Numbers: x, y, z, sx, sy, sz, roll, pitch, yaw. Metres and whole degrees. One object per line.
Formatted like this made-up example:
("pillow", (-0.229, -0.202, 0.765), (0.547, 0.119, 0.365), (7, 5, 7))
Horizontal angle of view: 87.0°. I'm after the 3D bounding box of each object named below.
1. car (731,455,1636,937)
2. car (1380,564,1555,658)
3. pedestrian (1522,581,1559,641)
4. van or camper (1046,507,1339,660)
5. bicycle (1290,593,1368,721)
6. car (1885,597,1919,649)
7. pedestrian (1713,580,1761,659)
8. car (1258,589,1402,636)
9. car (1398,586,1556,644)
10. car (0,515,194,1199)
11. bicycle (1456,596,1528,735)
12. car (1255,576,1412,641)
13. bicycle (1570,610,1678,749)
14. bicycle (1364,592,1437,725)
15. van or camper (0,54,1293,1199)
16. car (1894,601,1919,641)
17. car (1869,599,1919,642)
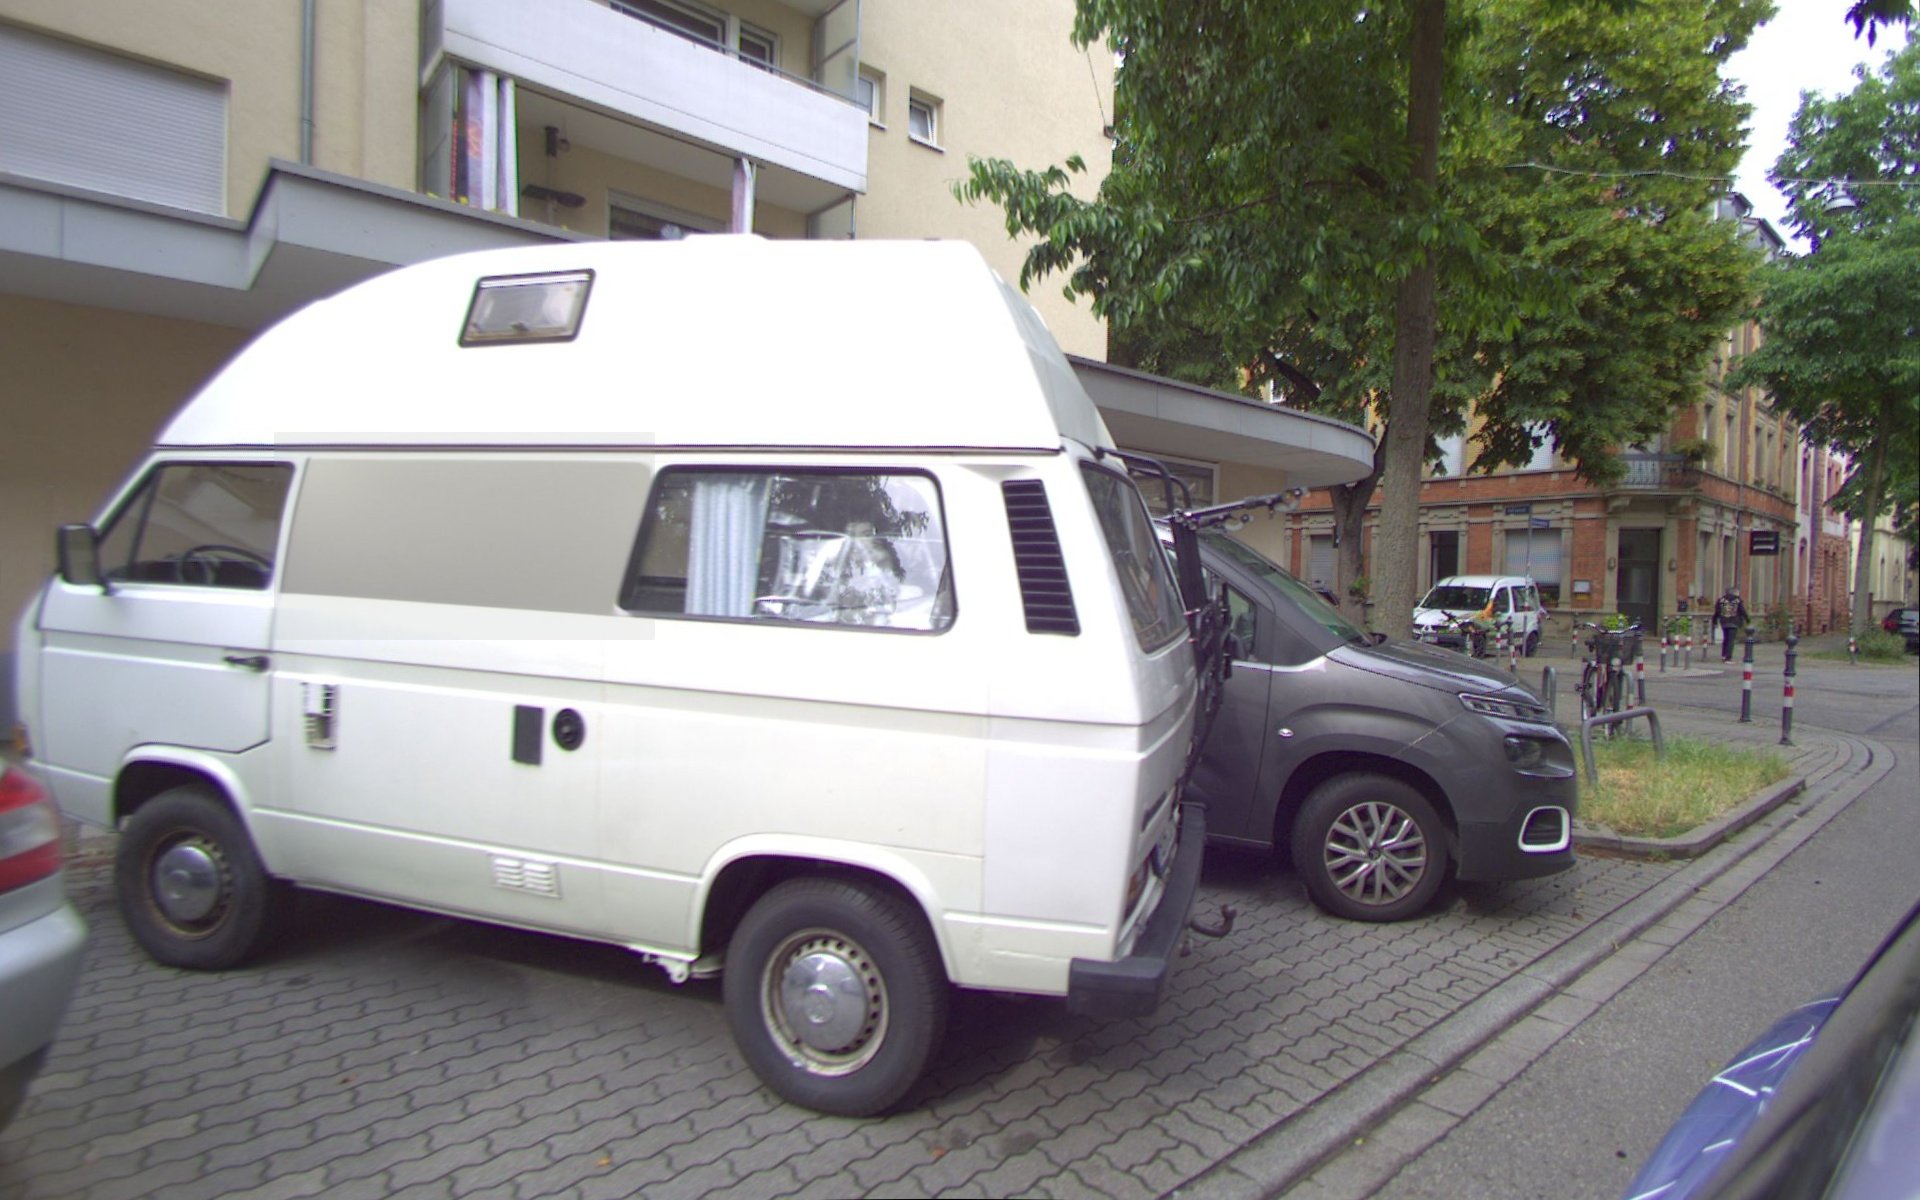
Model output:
("car", (1.041, 0.293, 5.721), (4.301, 1.877, 1.895), (2, 1, 25))
("car", (11.017, 0.202, 21.904), (3.925, 1.841, 1.776), (1, 1, -36))
("pedestrian", (16.930, 0.311, 29.520), (0.551, 1.727, 0.750), (1, 1, -29))
("van or camper", (4.345, -0.332, 20.094), (2.093, 2.526, 5.795), (5, -1, -31))
("bicycle", (3.910, 0.543, 10.663), (0.545, 1.188, 1.682), (2, 2, 27))
("car", (30.318, 0.735, 31.462), (4.401, 1.504, 1.768), (1, 3, -41))
("pedestrian", (18.217, 0.452, 23.743), (0.500, 1.819, 0.781), (1, 0, -38))
("car", (12.373, 0.357, 34.093), (1.960, 1.371, 4.338), (-2, 2, -29))
("car", (15.175, 0.384, 29.887), (1.628, 1.559, 3.836), (0, 2, -33))
("car", (-3.796, 0.435, 2.057), (3.767, 1.435, 1.715), (4, 2, 18))
("bicycle", (5.217, 0.587, 9.953), (0.545, 1.188, 1.712), (2, 2, 27))
("car", (10.213, 0.221, 27.786), (3.906, 1.601, 1.672), (2, 0, 22))
("bicycle", (6.098, 0.670, 9.370), (0.602, 1.108, 1.769), (2, 1, 27))
("bicycle", (4.519, 0.540, 10.338), (0.545, 1.188, 1.712), (2, 2, 27))
("van or camper", (-1.170, 0.000, 3.896), (4.535, 2.628, 1.900), (2, 1, 18))
("car", (38.529, 0.848, 38.748), (3.646, 1.484, 1.695), (2, 1, 19))
("car", (35.518, 0.841, 35.918), (4.384, 1.444, 1.750), (4, 3, 16))
